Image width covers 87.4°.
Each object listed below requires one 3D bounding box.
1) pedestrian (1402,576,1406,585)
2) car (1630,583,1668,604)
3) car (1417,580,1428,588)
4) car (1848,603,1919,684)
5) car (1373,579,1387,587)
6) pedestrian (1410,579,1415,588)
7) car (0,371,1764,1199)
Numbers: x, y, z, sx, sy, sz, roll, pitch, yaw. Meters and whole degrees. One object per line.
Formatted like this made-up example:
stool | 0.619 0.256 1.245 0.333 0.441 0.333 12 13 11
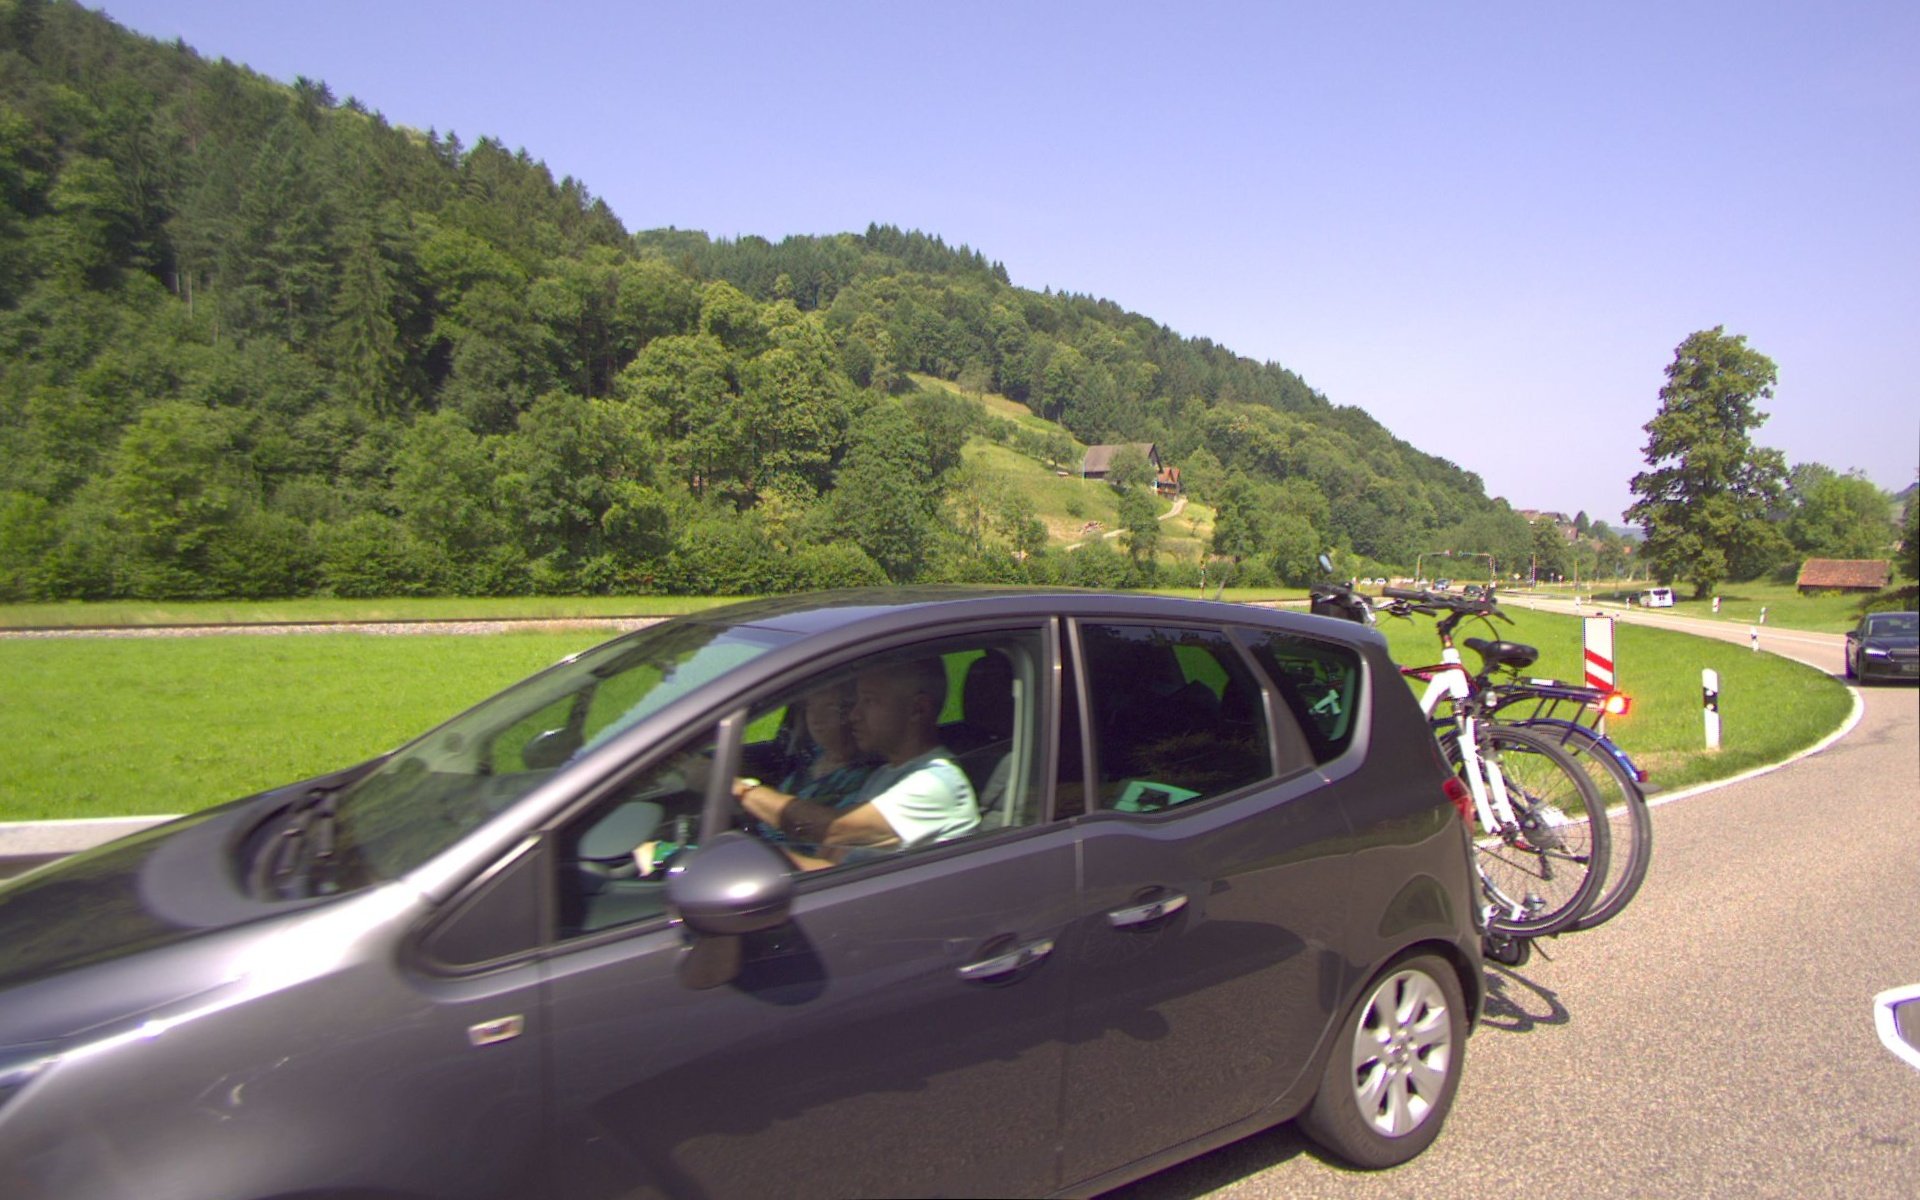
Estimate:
pedestrian | 87.689 -3.873 198.367 0.777 1.867 0.696 1 2 35
car | 69.484 -0.653 101.307 1.967 1.873 4.867 -4 0 21
car | 93.165 -3.279 202.345 1.796 1.521 4.275 0 1 22
car | 21.446 0.924 22.813 1.854 1.608 4.570 -2 0 41
car | 86.720 -3.476 207.383 1.965 1.663 4.890 1 2 31
pedestrian | 89.563 -3.293 198.730 0.760 1.884 0.645 -1 2 -25
car | 0.314 0.663 3.150 4.841 1.763 1.939 1 -2 -32
